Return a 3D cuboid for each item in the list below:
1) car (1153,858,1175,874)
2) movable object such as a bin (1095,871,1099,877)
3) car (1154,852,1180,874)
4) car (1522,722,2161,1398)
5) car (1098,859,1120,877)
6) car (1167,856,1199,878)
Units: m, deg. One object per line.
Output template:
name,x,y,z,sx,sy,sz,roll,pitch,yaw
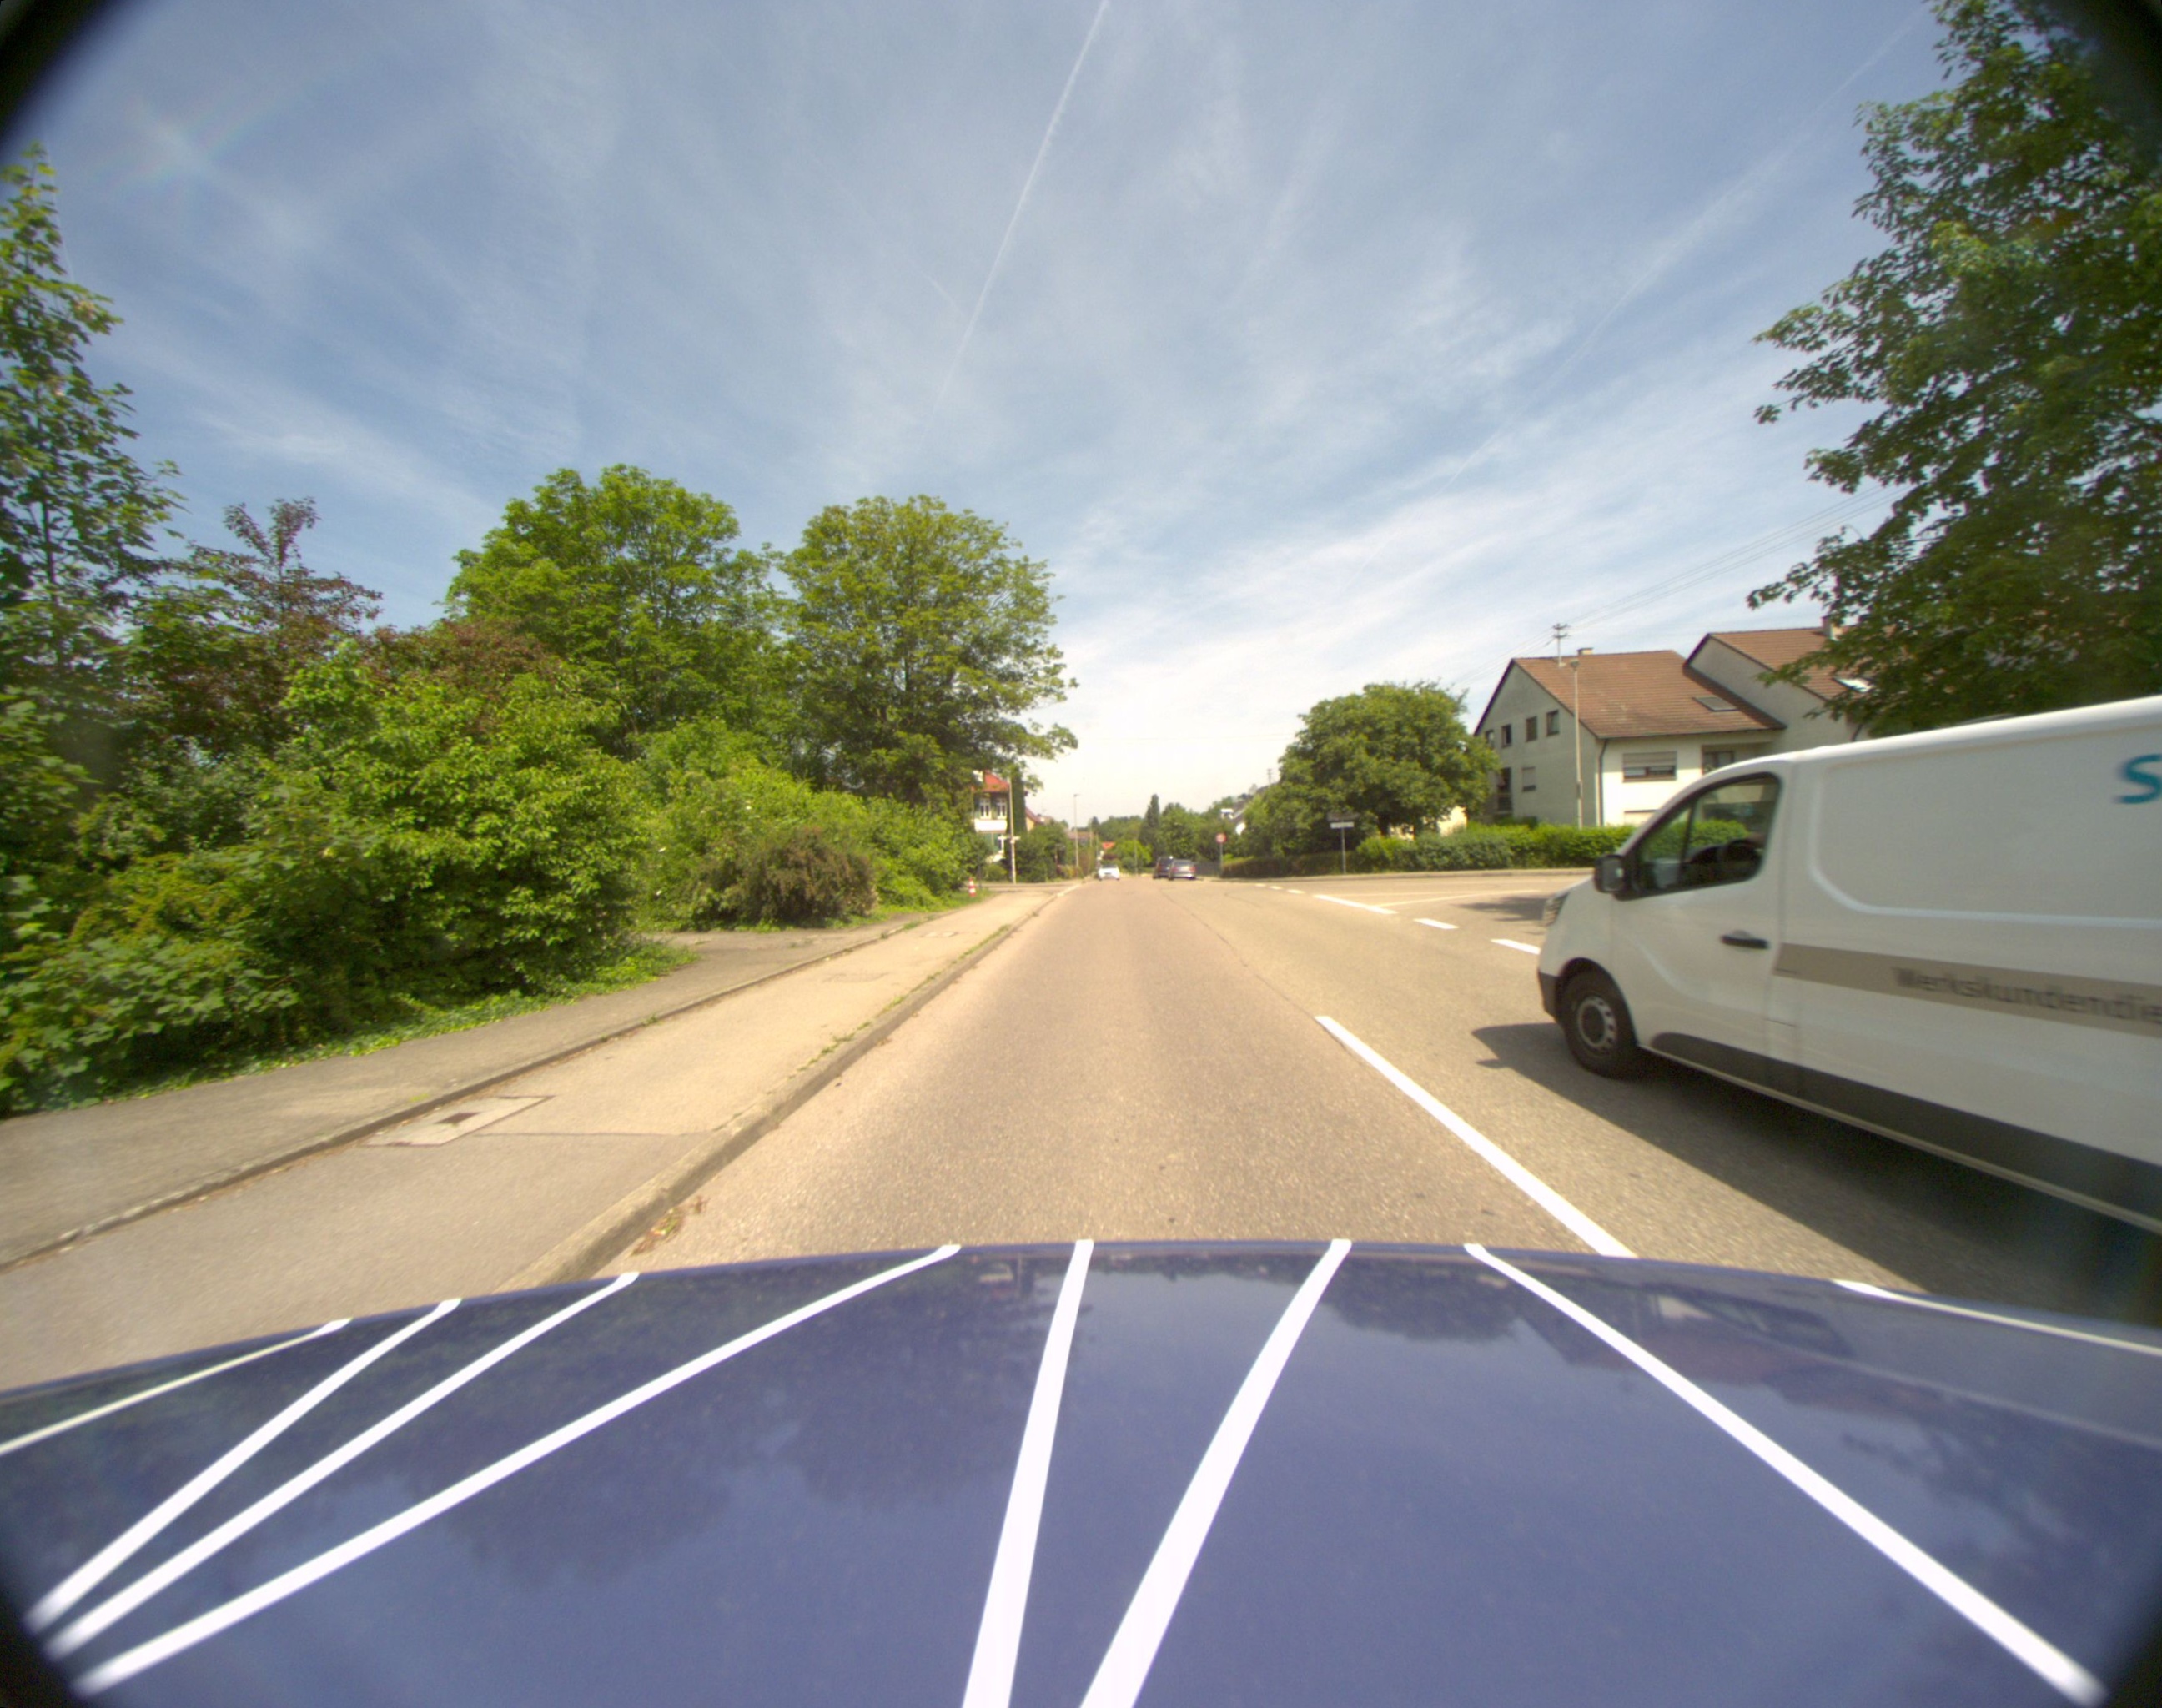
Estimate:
car,8.439,1.276,77.237,1.815,1.540,4.244,-2,-2,1
movable object such as a bin,2.680,3.258,124.247,0.589,1.052,0.920,-1,-1,6
car,7.844,0.870,69.553,1.901,1.908,4.872,-1,-2,1
car,4.069,0.571,2.998,1.884,1.953,4.902,-1,1,1
car,2.422,1.231,66.831,1.826,1.542,4.000,-2,-1,0
car,7.010,0.881,52.477,1.784,1.386,4.410,-1,-1,3
